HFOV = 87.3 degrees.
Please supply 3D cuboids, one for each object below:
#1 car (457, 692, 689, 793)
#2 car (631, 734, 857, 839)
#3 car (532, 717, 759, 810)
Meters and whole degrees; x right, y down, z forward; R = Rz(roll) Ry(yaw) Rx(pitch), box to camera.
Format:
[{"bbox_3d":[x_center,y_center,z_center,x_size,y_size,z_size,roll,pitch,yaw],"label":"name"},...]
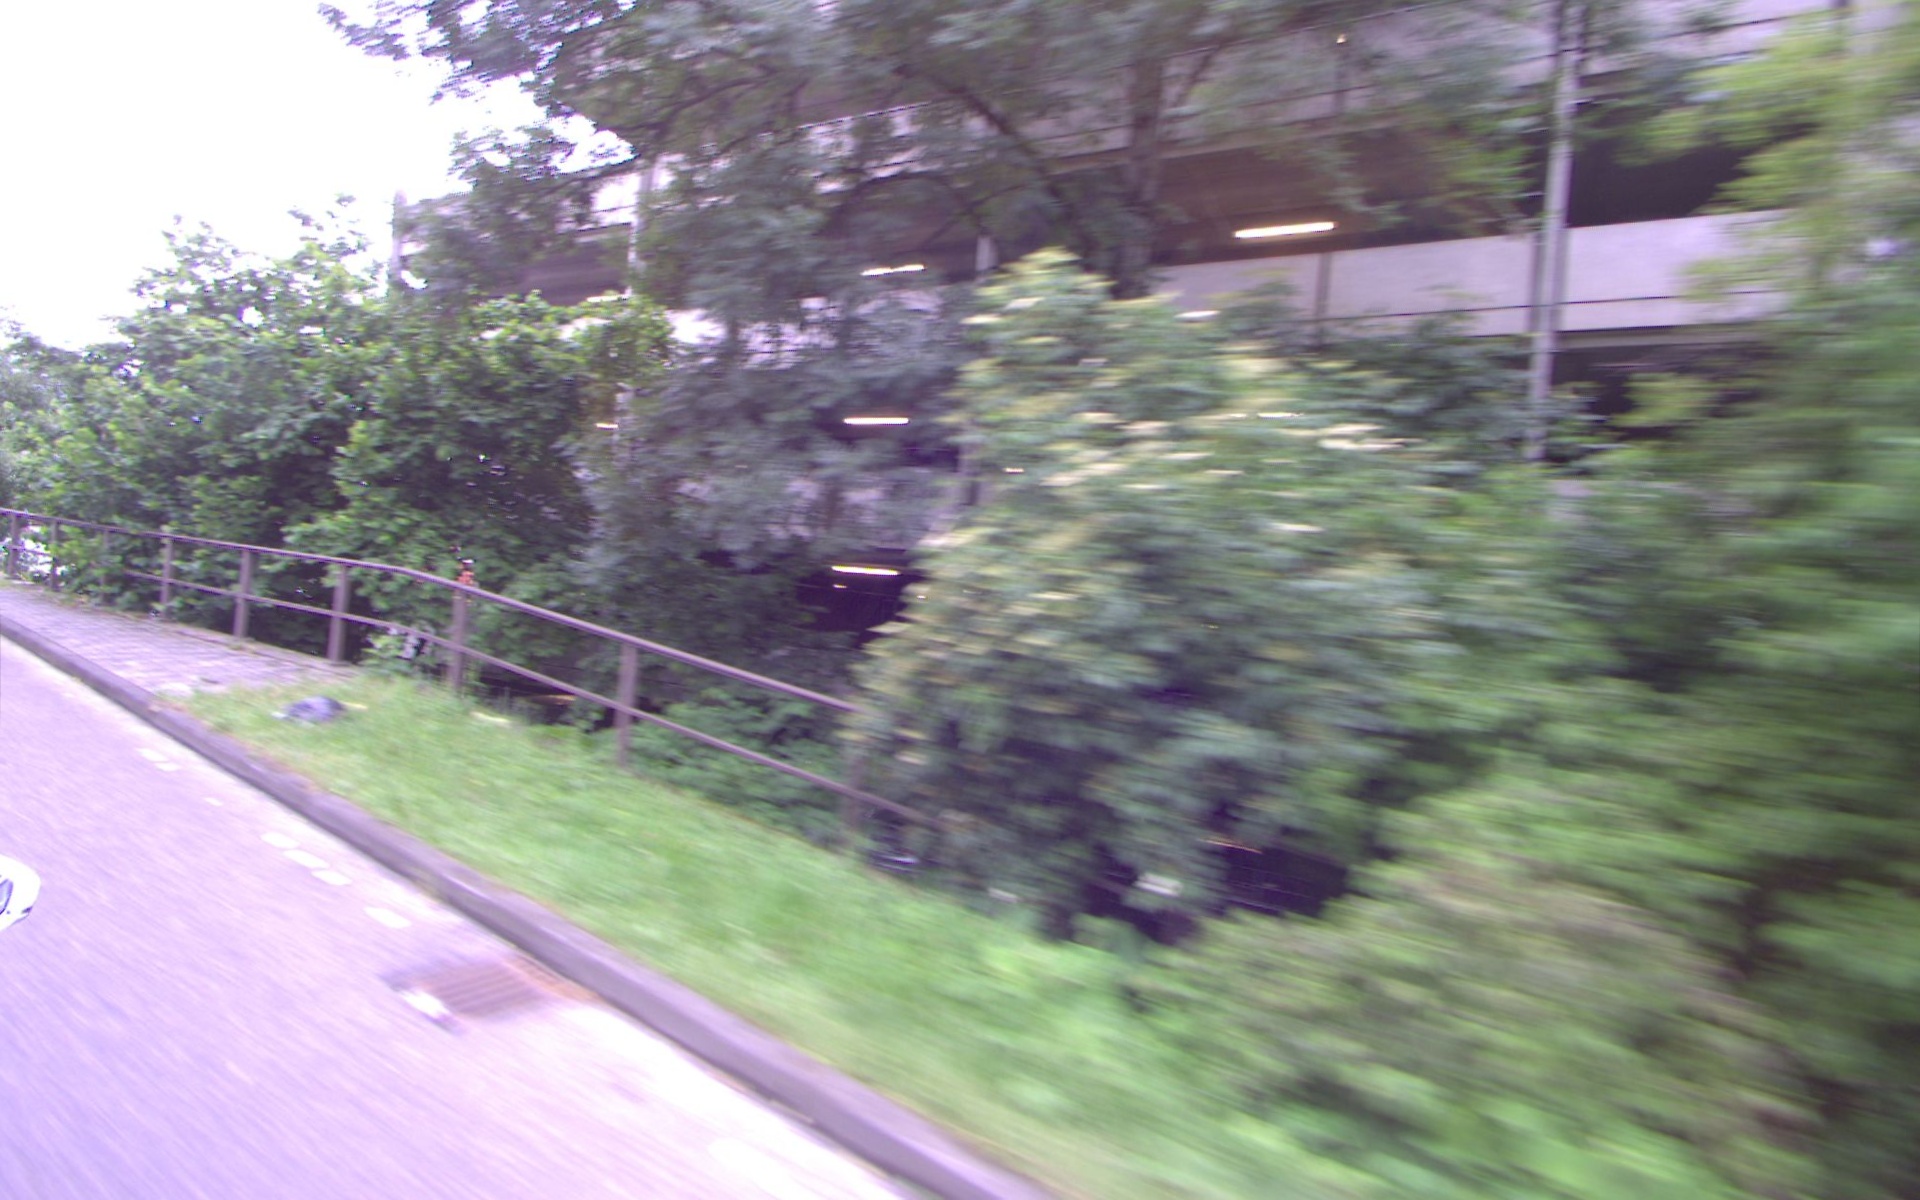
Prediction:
[{"bbox_3d":[-8.690,3.133,23.077,1.965,1.806,4.756,5,-2,27],"label":"car"},{"bbox_3d":[-4.270,3.710,20.740,1.965,1.446,4.663,4,-2,27],"label":"car"},{"bbox_3d":[-6.692,3.458,22.015,1.965,1.446,4.663,4,-2,27],"label":"car"}]
